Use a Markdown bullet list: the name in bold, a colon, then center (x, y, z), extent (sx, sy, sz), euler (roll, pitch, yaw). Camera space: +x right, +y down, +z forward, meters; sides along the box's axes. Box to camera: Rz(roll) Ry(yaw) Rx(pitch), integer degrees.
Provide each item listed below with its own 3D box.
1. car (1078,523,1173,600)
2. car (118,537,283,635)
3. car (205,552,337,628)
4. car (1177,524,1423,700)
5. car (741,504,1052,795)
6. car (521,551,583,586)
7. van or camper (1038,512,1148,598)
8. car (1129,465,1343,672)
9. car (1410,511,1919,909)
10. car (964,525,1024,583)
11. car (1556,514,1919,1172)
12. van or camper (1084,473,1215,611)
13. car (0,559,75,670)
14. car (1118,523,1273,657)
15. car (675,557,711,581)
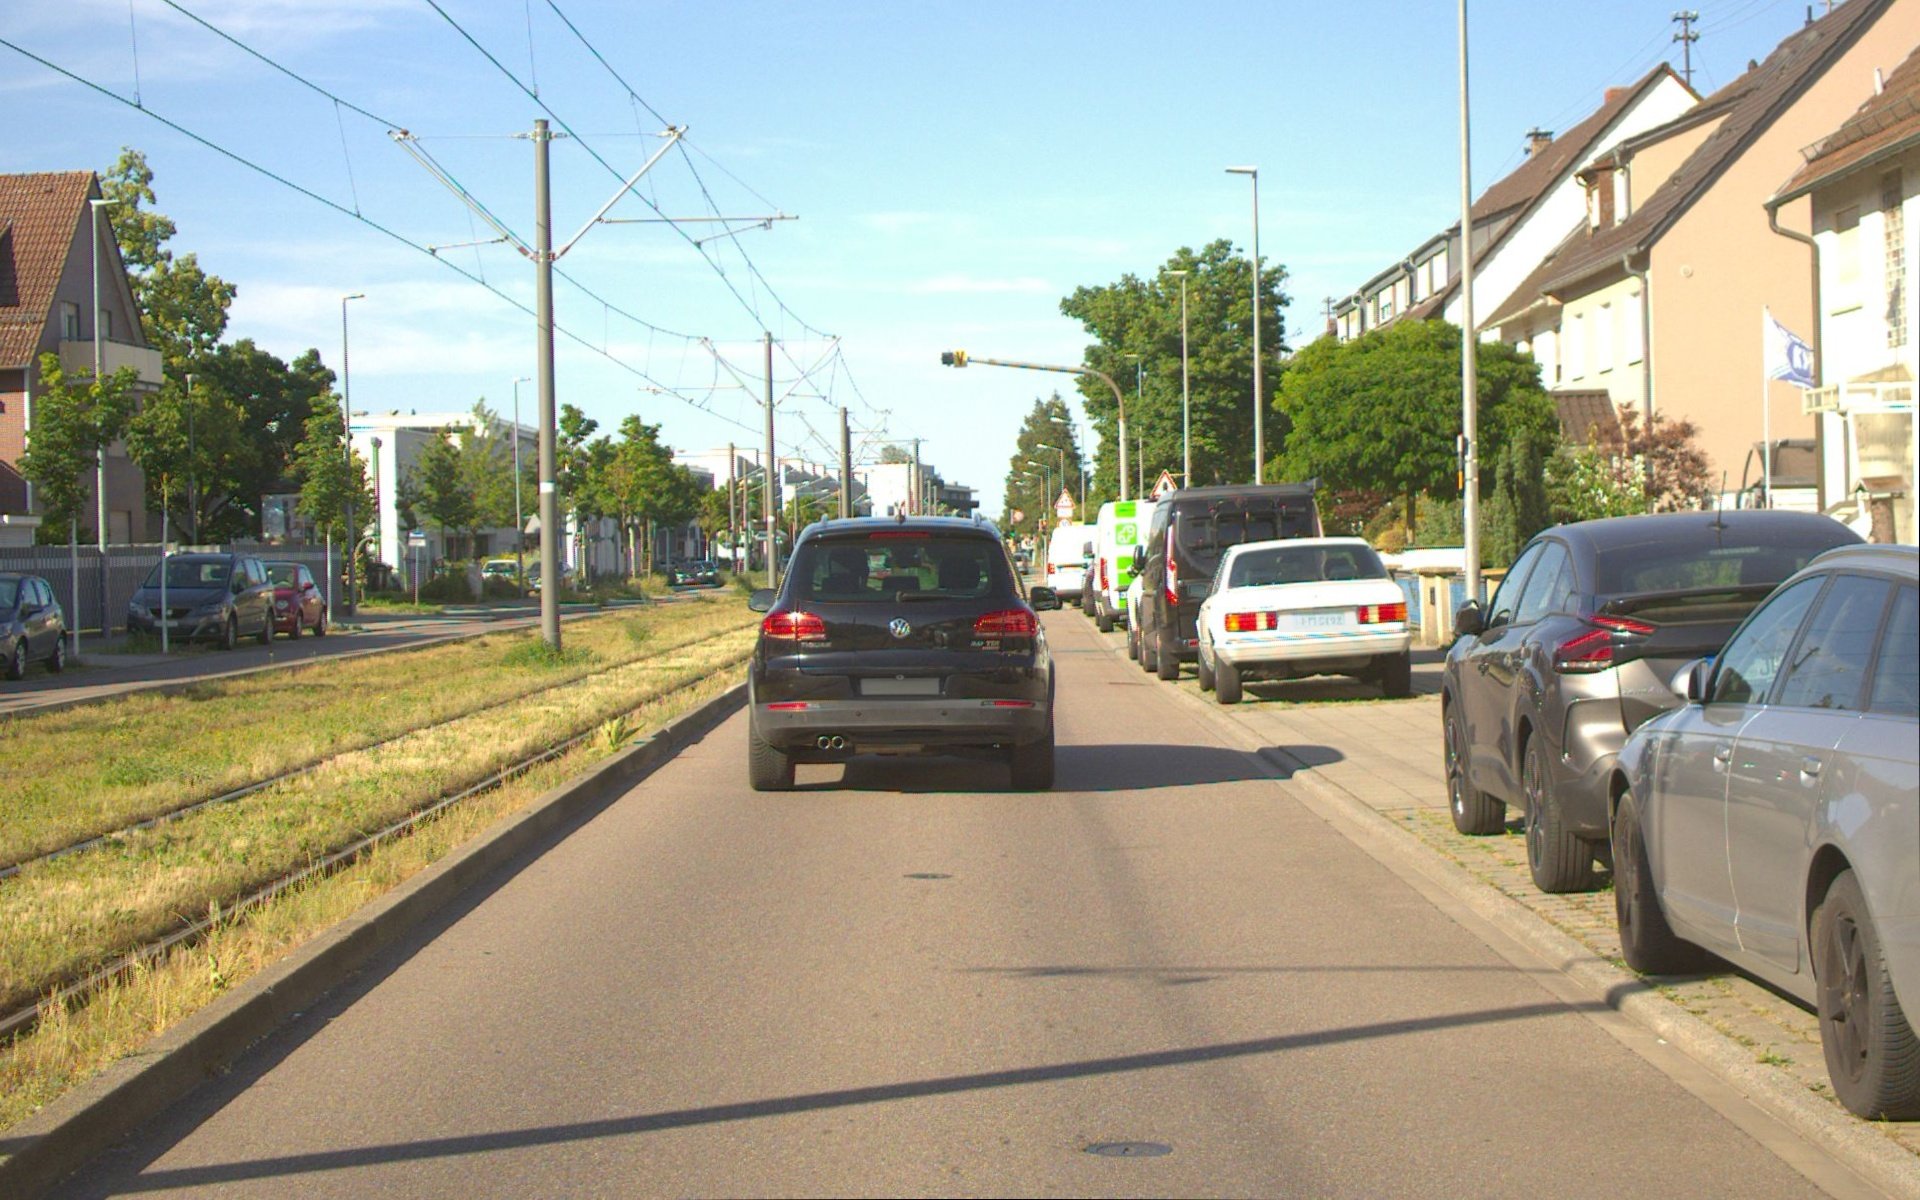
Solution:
- **car**: center (3.442, -0.802, 72.103), extent (1.748, 1.489, 5.155), euler (-2, 1, 1)
- **car**: center (-13.653, -0.285, 62.048), extent (1.819, 1.678, 4.846), euler (1, 1, 1)
- **car**: center (-13.636, -0.226, 68.204), extent (1.695, 1.400, 4.079), euler (-1, 1, 1)
- **car**: center (3.128, 0.050, 32.604), extent (1.853, 1.439, 5.613), euler (-3, 1, 2)
- **car**: center (-0.411, 0.264, 21.786), extent (1.775, 1.664, 4.000), euler (0, 1, -1)
- **car**: center (-17.579, -1.353, 148.293), extent (1.811, 1.456, 4.317), euler (1, 1, 5)
- **van or camper**: center (3.224, -1.100, 82.373), extent (2.028, 1.949, 5.293), euler (-1, 1, 8)
- **car**: center (3.061, -0.368, 39.183), extent (1.960, 2.137, 5.335), euler (-2, 1, 0)
- **car**: center (3.208, 0.373, 15.546), extent (1.777, 1.493, 4.728), euler (-1, 1, 1)
- **car**: center (1.095, -1.528, 113.732), extent (1.627, 1.822, 4.131), euler (-1, 1, -4)
- **car**: center (3.045, 0.506, 9.901), extent (1.748, 1.442, 4.699), euler (-2, 2, -1)
- **van or camper**: center (3.344, -1.014, 61.705), extent (1.993, 2.263, 6.305), euler (-2, 1, 1)
- **car**: center (-13.943, 0.169, 49.055), extent (1.676, 1.485, 4.050), euler (1, 1, -2)
- **car**: center (3.086, -0.152, 45.691), extent (1.725, 1.640, 4.319), euler (-2, 1, 0)
- **car**: center (-16.428, -1.909, 211.652), extent (1.688, 1.384, 4.387), euler (-3, 1, 2)
